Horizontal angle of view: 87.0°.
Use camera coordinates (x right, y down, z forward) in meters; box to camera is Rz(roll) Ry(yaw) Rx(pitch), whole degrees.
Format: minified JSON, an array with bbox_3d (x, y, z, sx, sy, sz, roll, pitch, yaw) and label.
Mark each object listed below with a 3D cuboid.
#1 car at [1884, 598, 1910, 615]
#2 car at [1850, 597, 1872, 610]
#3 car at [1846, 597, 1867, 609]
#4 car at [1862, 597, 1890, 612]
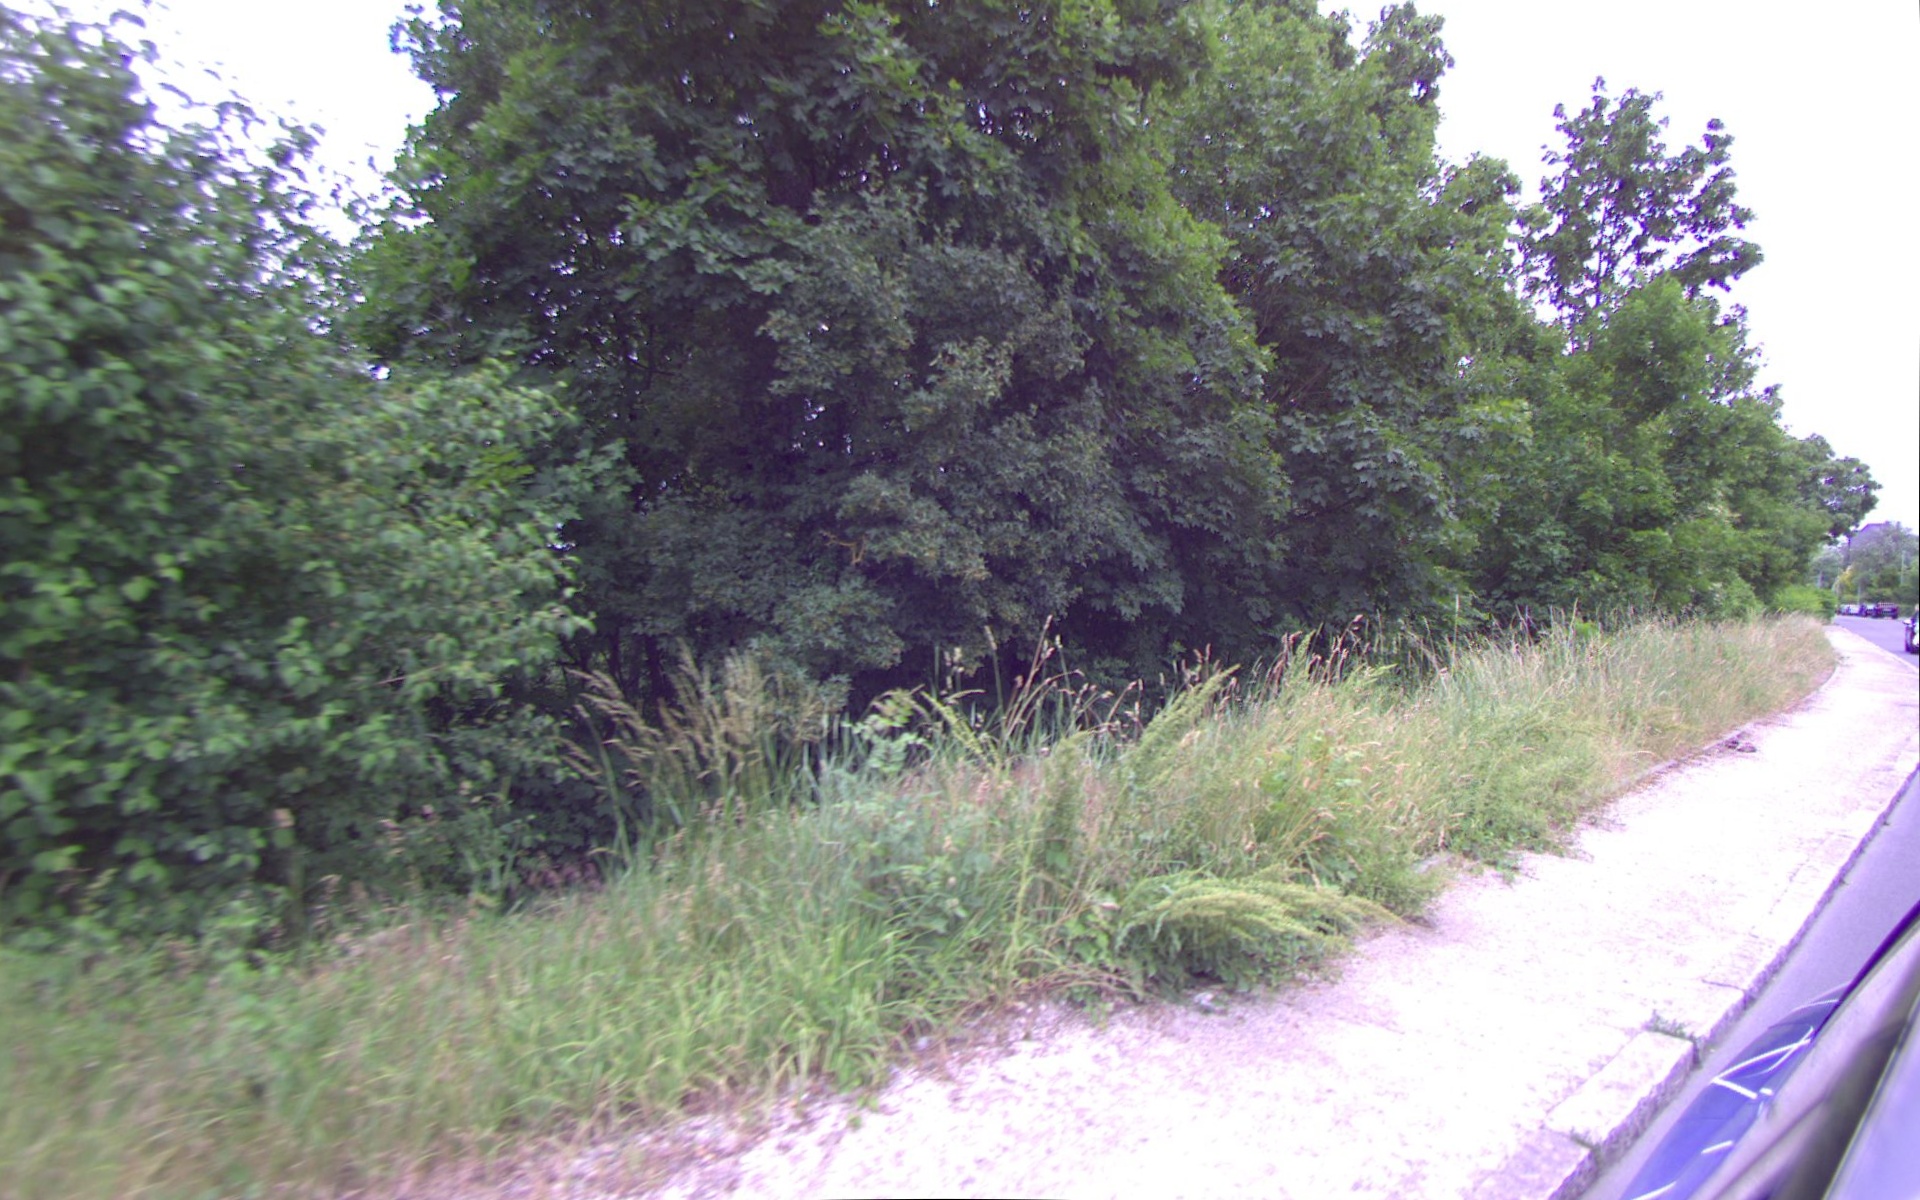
[{"bbox_3d":[102.321,0.683,110.563,1.916,1.701,4.132,1,1,41],"label":"car"},{"bbox_3d":[122.743,0.471,137.931,1.914,1.701,4.137,1,1,38],"label":"car"},{"bbox_3d":[125.573,0.428,141.836,1.914,1.701,4.137,1,1,38],"label":"car"},{"bbox_3d":[108.083,0.540,119.436,1.912,1.701,4.140,1,1,36],"label":"car"}]
